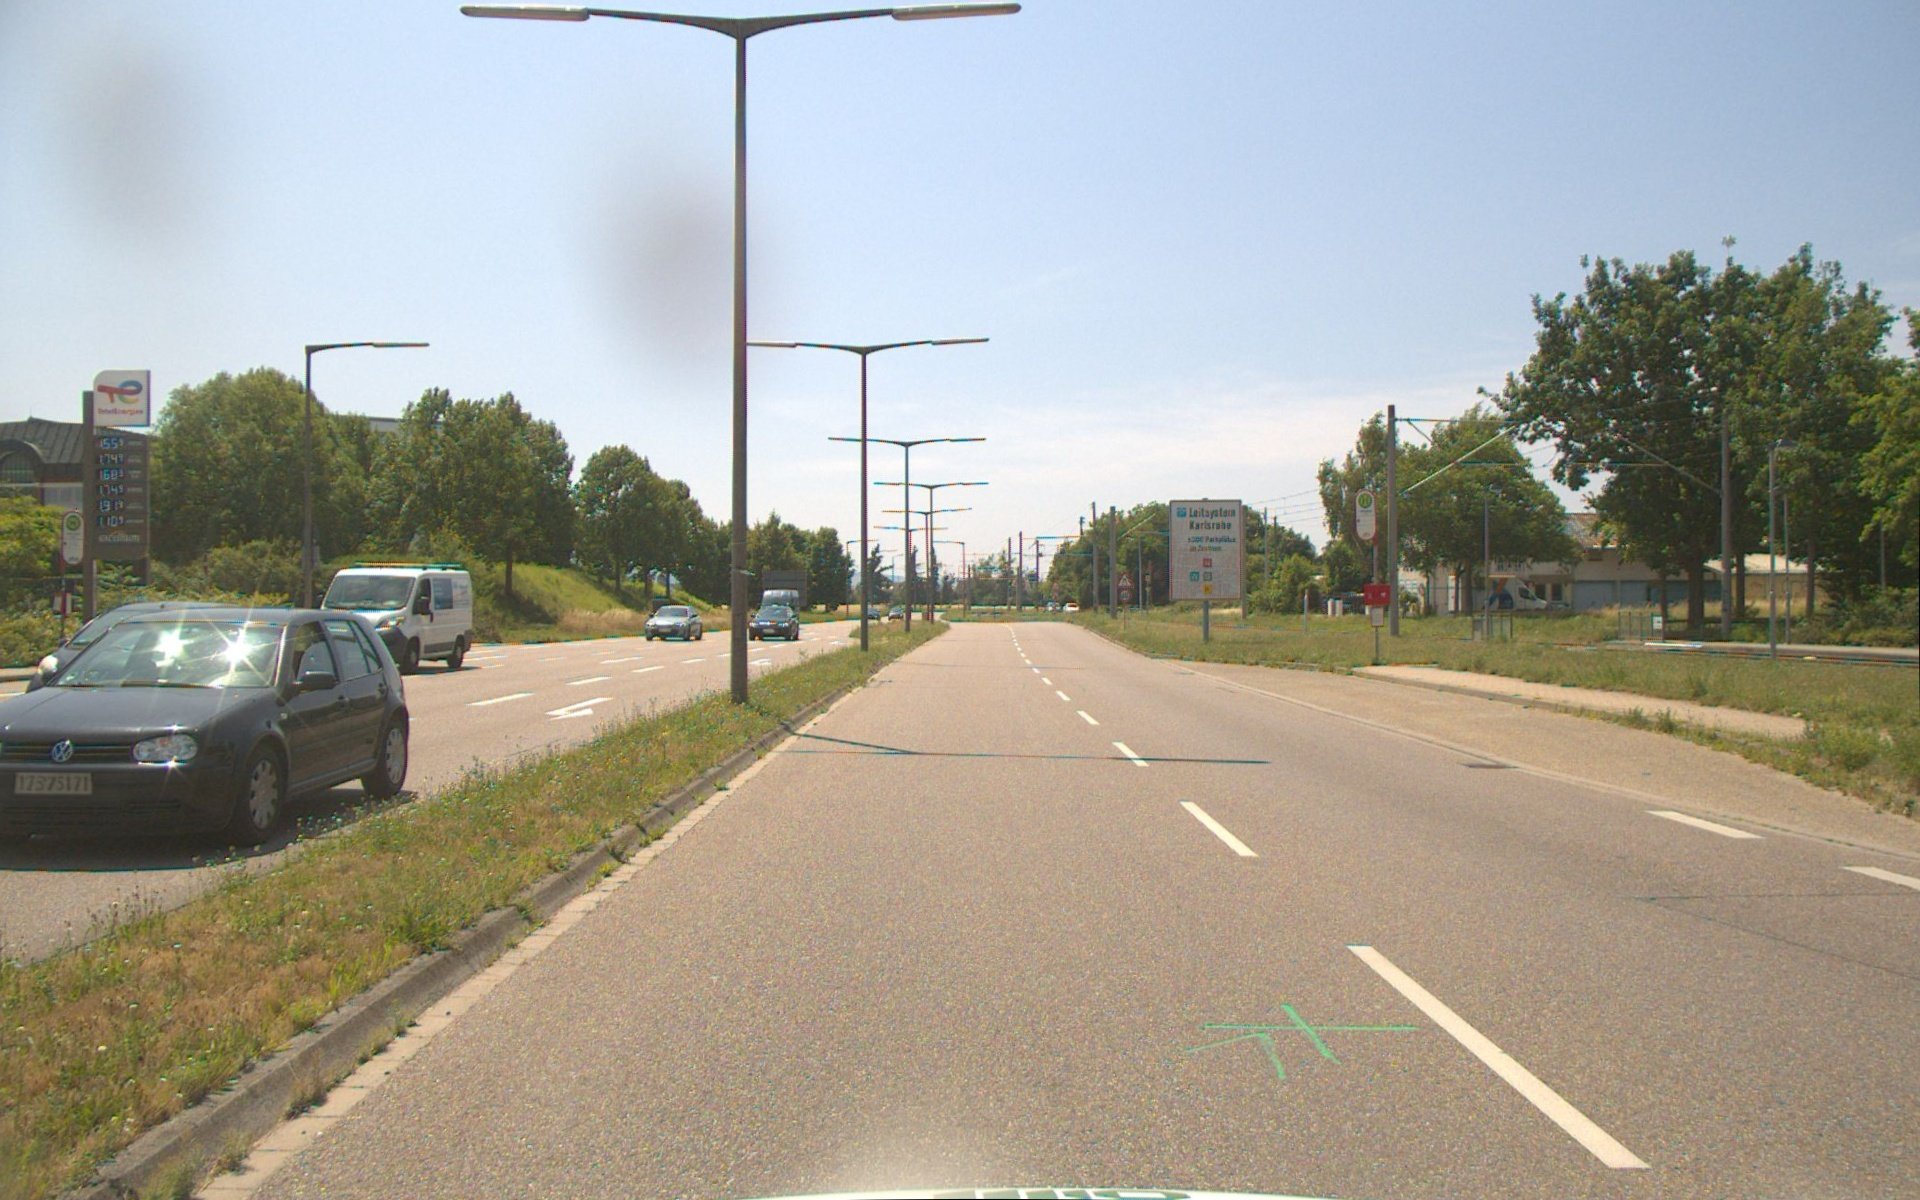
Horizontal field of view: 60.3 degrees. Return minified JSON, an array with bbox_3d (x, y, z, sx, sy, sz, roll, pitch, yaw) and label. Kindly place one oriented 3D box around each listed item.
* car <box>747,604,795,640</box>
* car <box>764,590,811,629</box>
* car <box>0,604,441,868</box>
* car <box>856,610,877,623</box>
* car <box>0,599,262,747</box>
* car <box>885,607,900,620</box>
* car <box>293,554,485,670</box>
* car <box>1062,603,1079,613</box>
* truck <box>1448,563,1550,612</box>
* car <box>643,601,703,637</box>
[{"bbox_3d":[-8.253,0.942,72.617,1.696,1.483,4.563,0,0,-2],"label":"car"},{"bbox_3d":[-11.102,0.618,107.083,2.128,2.454,5.674,0,0,3],"label":"car"},{"bbox_3d":[-4.990,0.763,11.298,1.642,1.459,4.190,0,0,-1],"label":"car"},{"bbox_3d":[-10.552,1.839,186.526,1.952,1.383,4.666,-2,0,1],"label":"car"},{"bbox_3d":[-9.171,0.731,18.294,1.417,1.471,3.505,0,0,-1],"label":"car"},{"bbox_3d":[-7.900,1.581,193.786,1.657,1.518,3.999,-1,0,-1],"label":"car"},{"bbox_3d":[-12.267,0.258,36.000,2.203,2.313,5.449,1,0,0],"label":"car"},{"bbox_3d":[13.313,0.988,199.430,1.532,1.200,3.075,-1,0,-6],"label":"car"},{"bbox_3d":[34.635,-0.805,106.316,5.731,2.893,2.316,-2,-1,-8],"label":"truck"},{"bbox_3d":[-12.133,0.782,70.127,1.794,1.474,4.850,0,0,-1],"label":"car"}]
